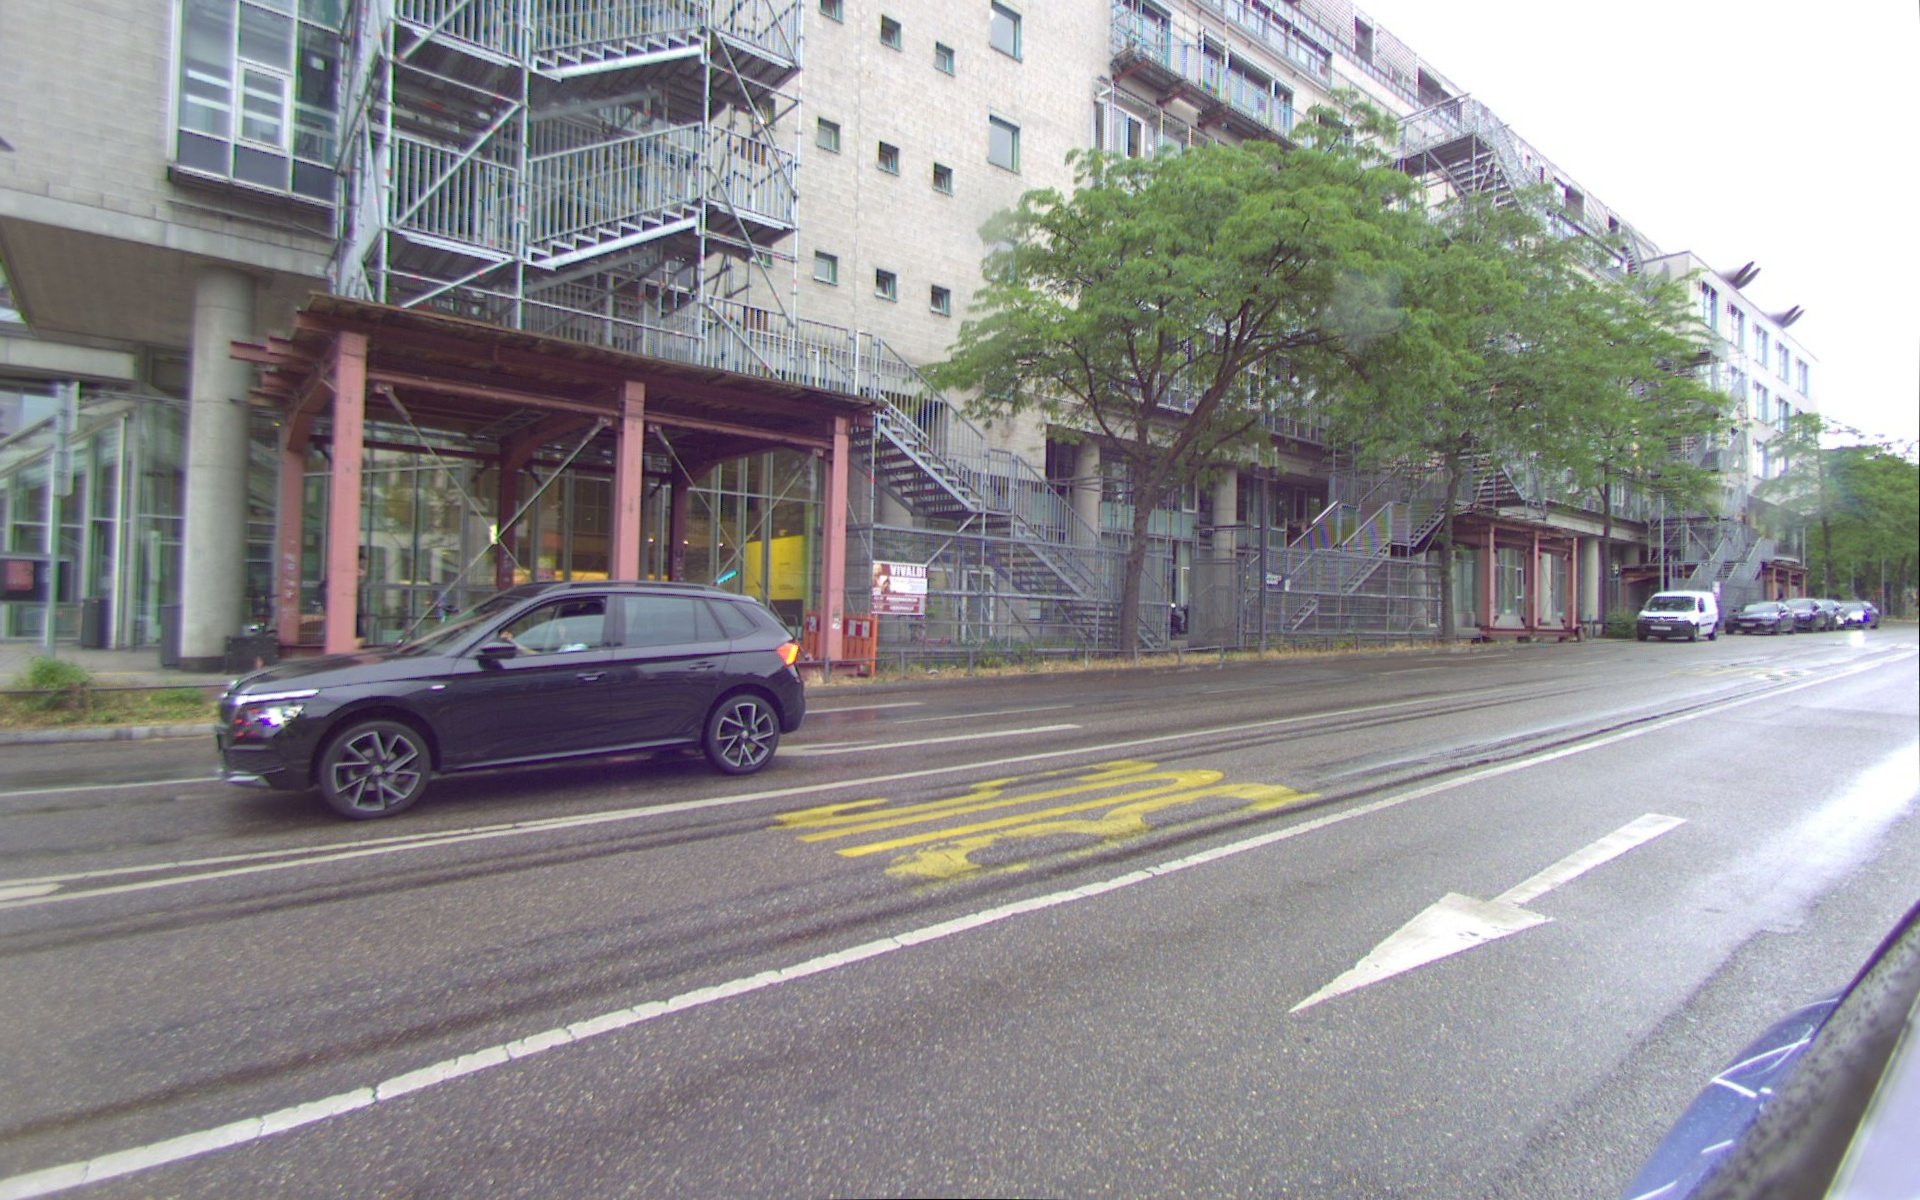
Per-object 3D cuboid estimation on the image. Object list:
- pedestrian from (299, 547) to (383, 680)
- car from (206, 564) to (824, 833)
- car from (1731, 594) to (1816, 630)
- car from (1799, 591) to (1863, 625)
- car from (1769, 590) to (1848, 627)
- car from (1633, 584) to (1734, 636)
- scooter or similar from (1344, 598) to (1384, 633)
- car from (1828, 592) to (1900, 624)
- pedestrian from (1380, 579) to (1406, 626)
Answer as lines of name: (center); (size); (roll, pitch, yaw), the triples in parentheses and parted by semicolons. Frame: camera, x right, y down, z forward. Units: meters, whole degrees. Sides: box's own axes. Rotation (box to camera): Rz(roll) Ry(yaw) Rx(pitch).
pedestrian: (-9.101, 0.187, 14.911); (1.035, 1.875, 0.682); (0, 0, -31)
car: (-3.271, 0.562, 7.832); (4.071, 1.559, 1.782); (0, 0, -39)
car: (35.251, 0.512, 43.810); (4.831, 1.455, 1.873); (0, 0, -39)
car: (44.384, 0.393, 51.527); (4.512, 1.621, 1.865); (0, 0, -41)
car: (40.355, 0.368, 48.115); (4.774, 1.667, 1.998); (0, 0, -39)
car: (26.218, 0.320, 36.622); (4.447, 1.772, 1.997); (0, 0, -41)
scooter or similar: (13.799, 0.521, 34.549); (1.520, 1.176, 0.632); (0, 0, -41)
car: (49.105, 0.411, 54.955); (5.191, 1.621, 1.999); (0, 0, -38)
pedestrian: (16.354, 0.091, 38.204); (0.641, 1.764, 0.678); (0, 0, -38)
